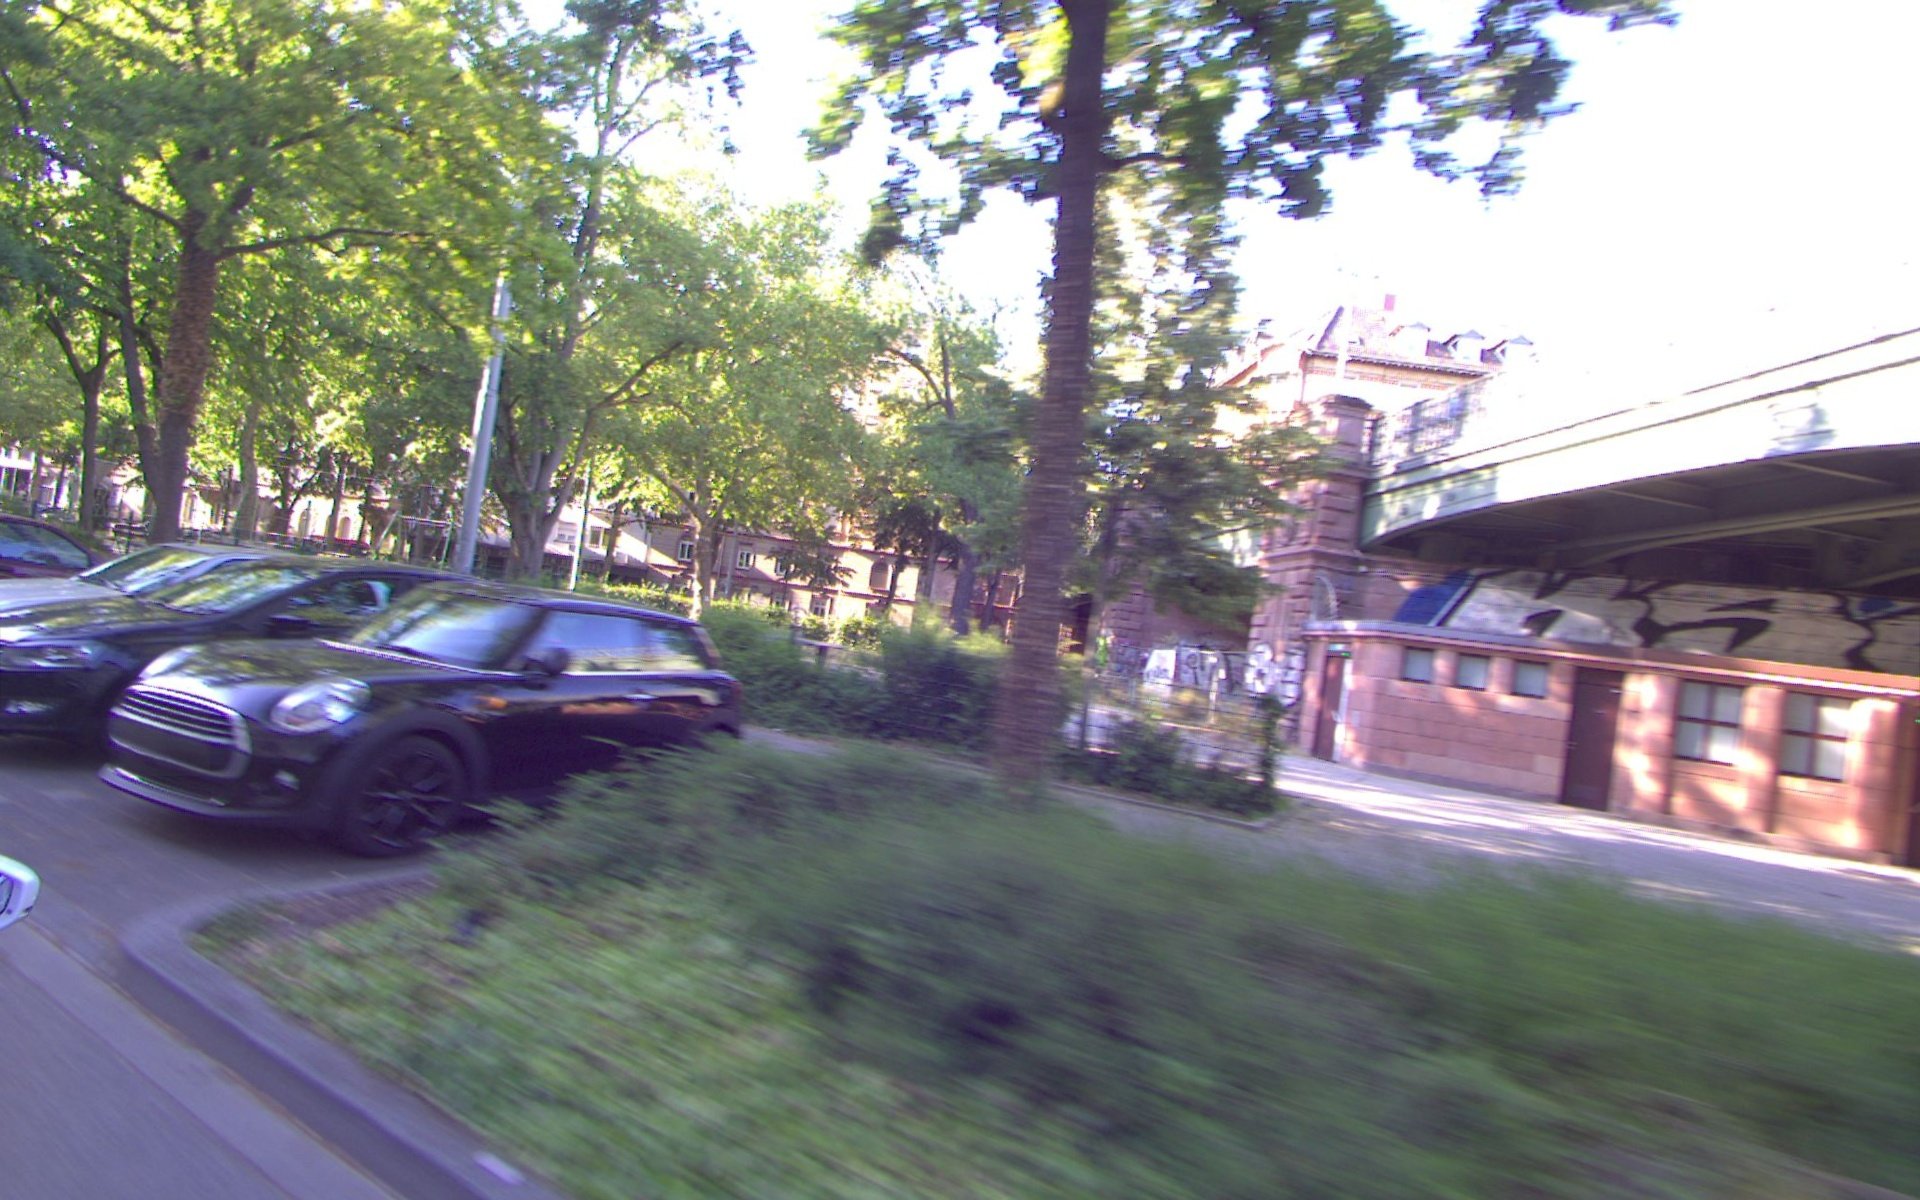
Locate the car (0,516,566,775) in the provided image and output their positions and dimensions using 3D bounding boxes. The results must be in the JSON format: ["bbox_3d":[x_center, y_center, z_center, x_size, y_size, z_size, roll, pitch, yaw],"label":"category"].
[{"bbox_3d":[-5.172,0.360,7.490,1.796,1.417,3.791,5,-3,29],"label":"car"}]

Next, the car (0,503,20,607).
[{"bbox_3d":[-15.578,-0.895,13.601,1.636,1.490,3.790,5,-3,31],"label":"car"}]

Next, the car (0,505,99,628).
[{"bbox_3d":[-13.284,-0.615,12.302,1.638,1.463,3.788,5,-3,33],"label":"car"}]

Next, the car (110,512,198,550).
[{"bbox_3d":[-53.818,-4.604,67.267,1.966,1.701,4.002,5,-5,28],"label":"car"}]

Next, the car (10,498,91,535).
[{"bbox_3d":[-62.781,-5.750,69.523,3.978,1.701,1.977,11,-5,-42],"label":"car"}]

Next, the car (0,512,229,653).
[{"bbox_3d":[-10.953,-0.278,11.464,1.735,1.417,3.795,6,-3,25],"label":"car"}]

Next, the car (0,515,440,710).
[{"bbox_3d":[-7.019,0.173,9.055,1.635,1.417,3.793,5,-3,28],"label":"car"}]

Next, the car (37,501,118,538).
[{"bbox_3d":[-60.157,-5.471,68.639,3.978,1.701,1.977,11,-5,-42],"label":"car"}]

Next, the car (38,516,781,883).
[{"bbox_3d":[-2.959,0.566,6.352,1.606,1.489,3.795,6,-3,25],"label":"car"}]

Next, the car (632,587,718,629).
[{"bbox_3d":[-18.327,0.528,64.811,4.648,2.035,2.005,7,-4,8],"label":"car"}]
